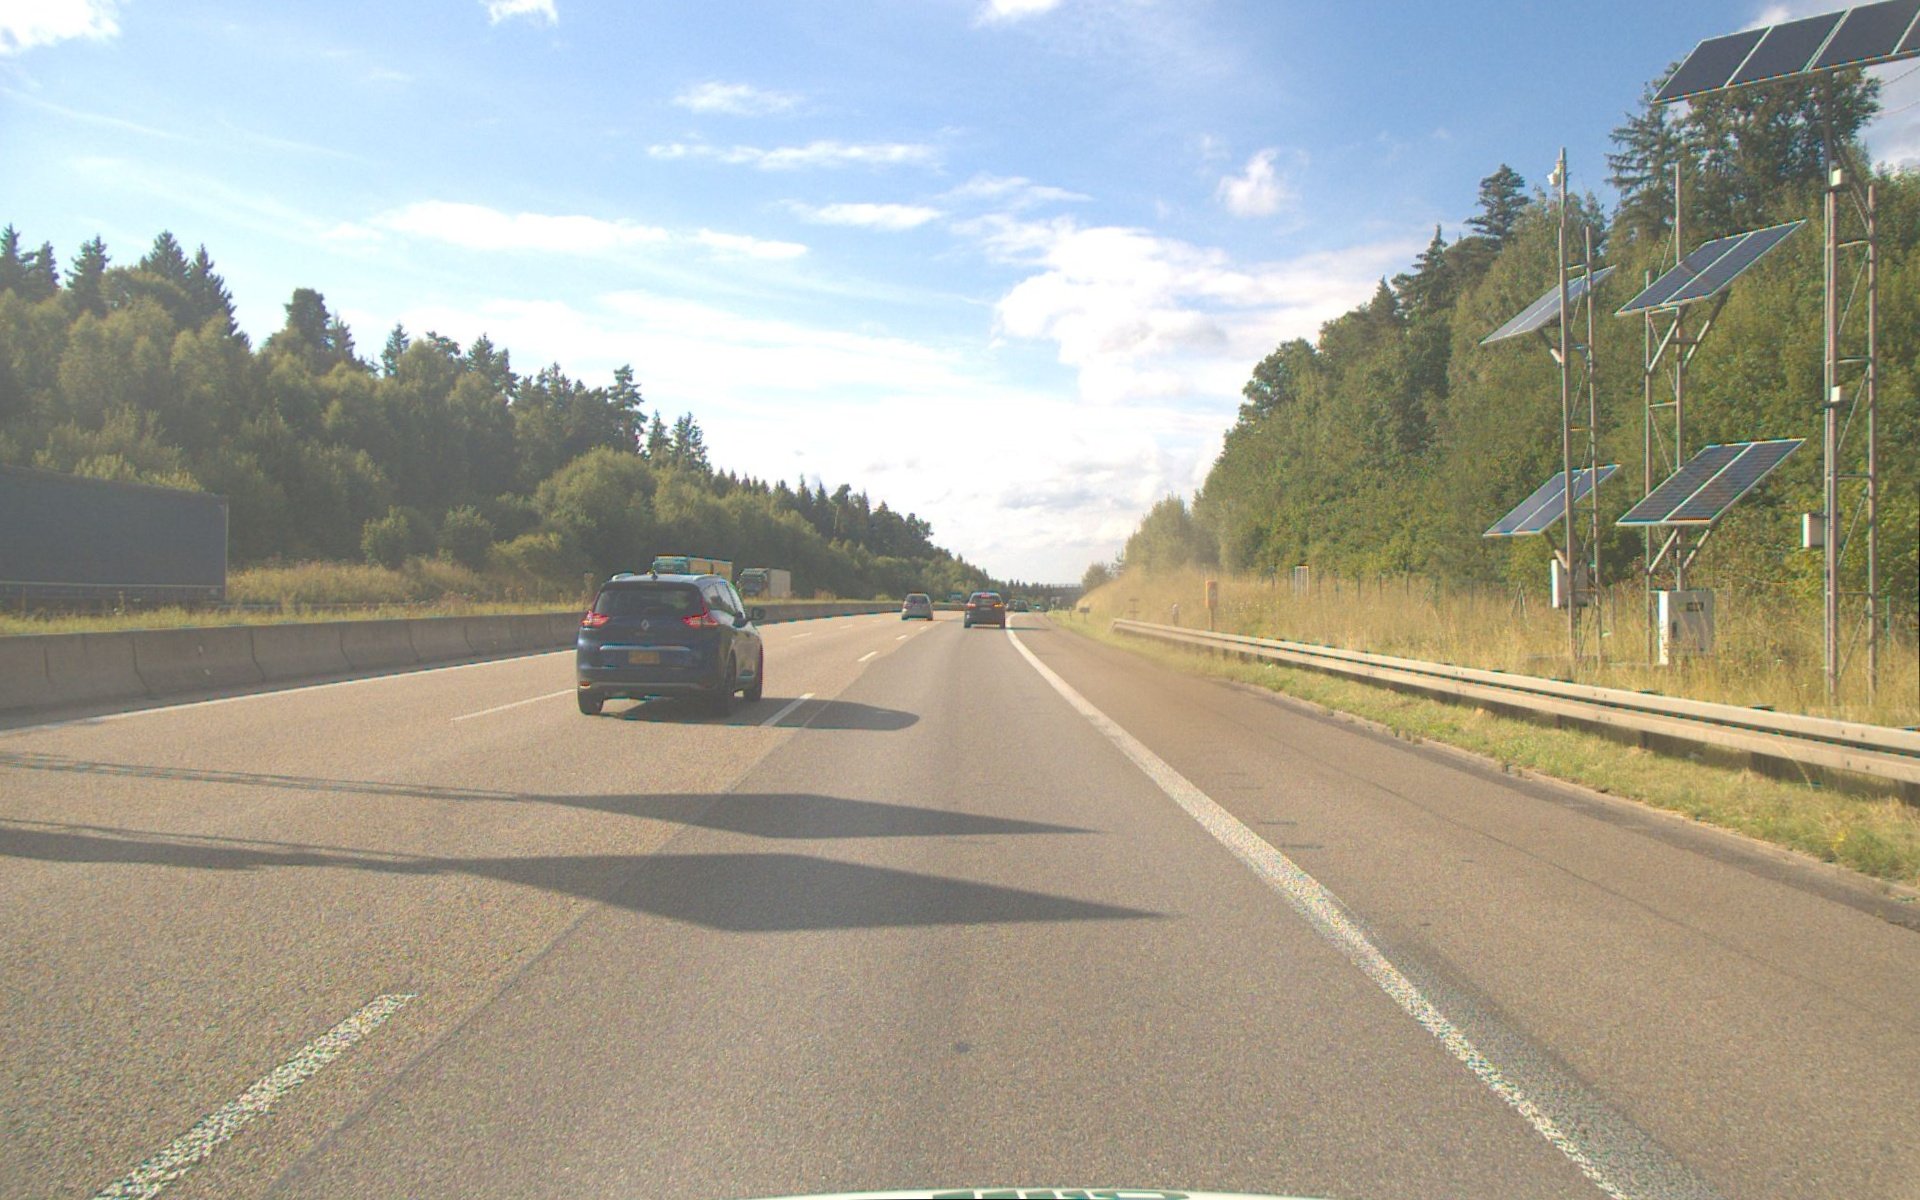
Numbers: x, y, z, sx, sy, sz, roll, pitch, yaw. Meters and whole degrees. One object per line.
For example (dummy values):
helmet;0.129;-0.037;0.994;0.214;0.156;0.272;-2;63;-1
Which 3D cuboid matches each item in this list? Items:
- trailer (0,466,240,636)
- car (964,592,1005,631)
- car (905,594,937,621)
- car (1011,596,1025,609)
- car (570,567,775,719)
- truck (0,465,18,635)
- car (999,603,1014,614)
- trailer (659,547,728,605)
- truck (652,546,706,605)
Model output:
trailer;-22.494;-1.142;42.251;2.232;3.794;13.276;1;0;1
car;1.177;0.515;77.119;1.835;1.704;3.891;1;1;1
car;-2.360;0.428;99.187;1.836;1.523;3.878;1;1;-2
car;7.760;0.322;221.774;1.775;1.735;4.000;1;1;-1
car;-3.569;0.485;21.355;1.953;1.736;4.528;1;0;-2
truck;-22.566;-1.112;34.828;2.232;3.794;5.532;1;0;0
car;6.835;1.269;242.961;1.834;1.523;3.883;1;1;6
trailer;-20.276;-1.804;126.703;2.594;4.157;13.205;1;0;2
truck;-20.506;-1.768;120.911;2.594;4.157;6.418;1;0;2
